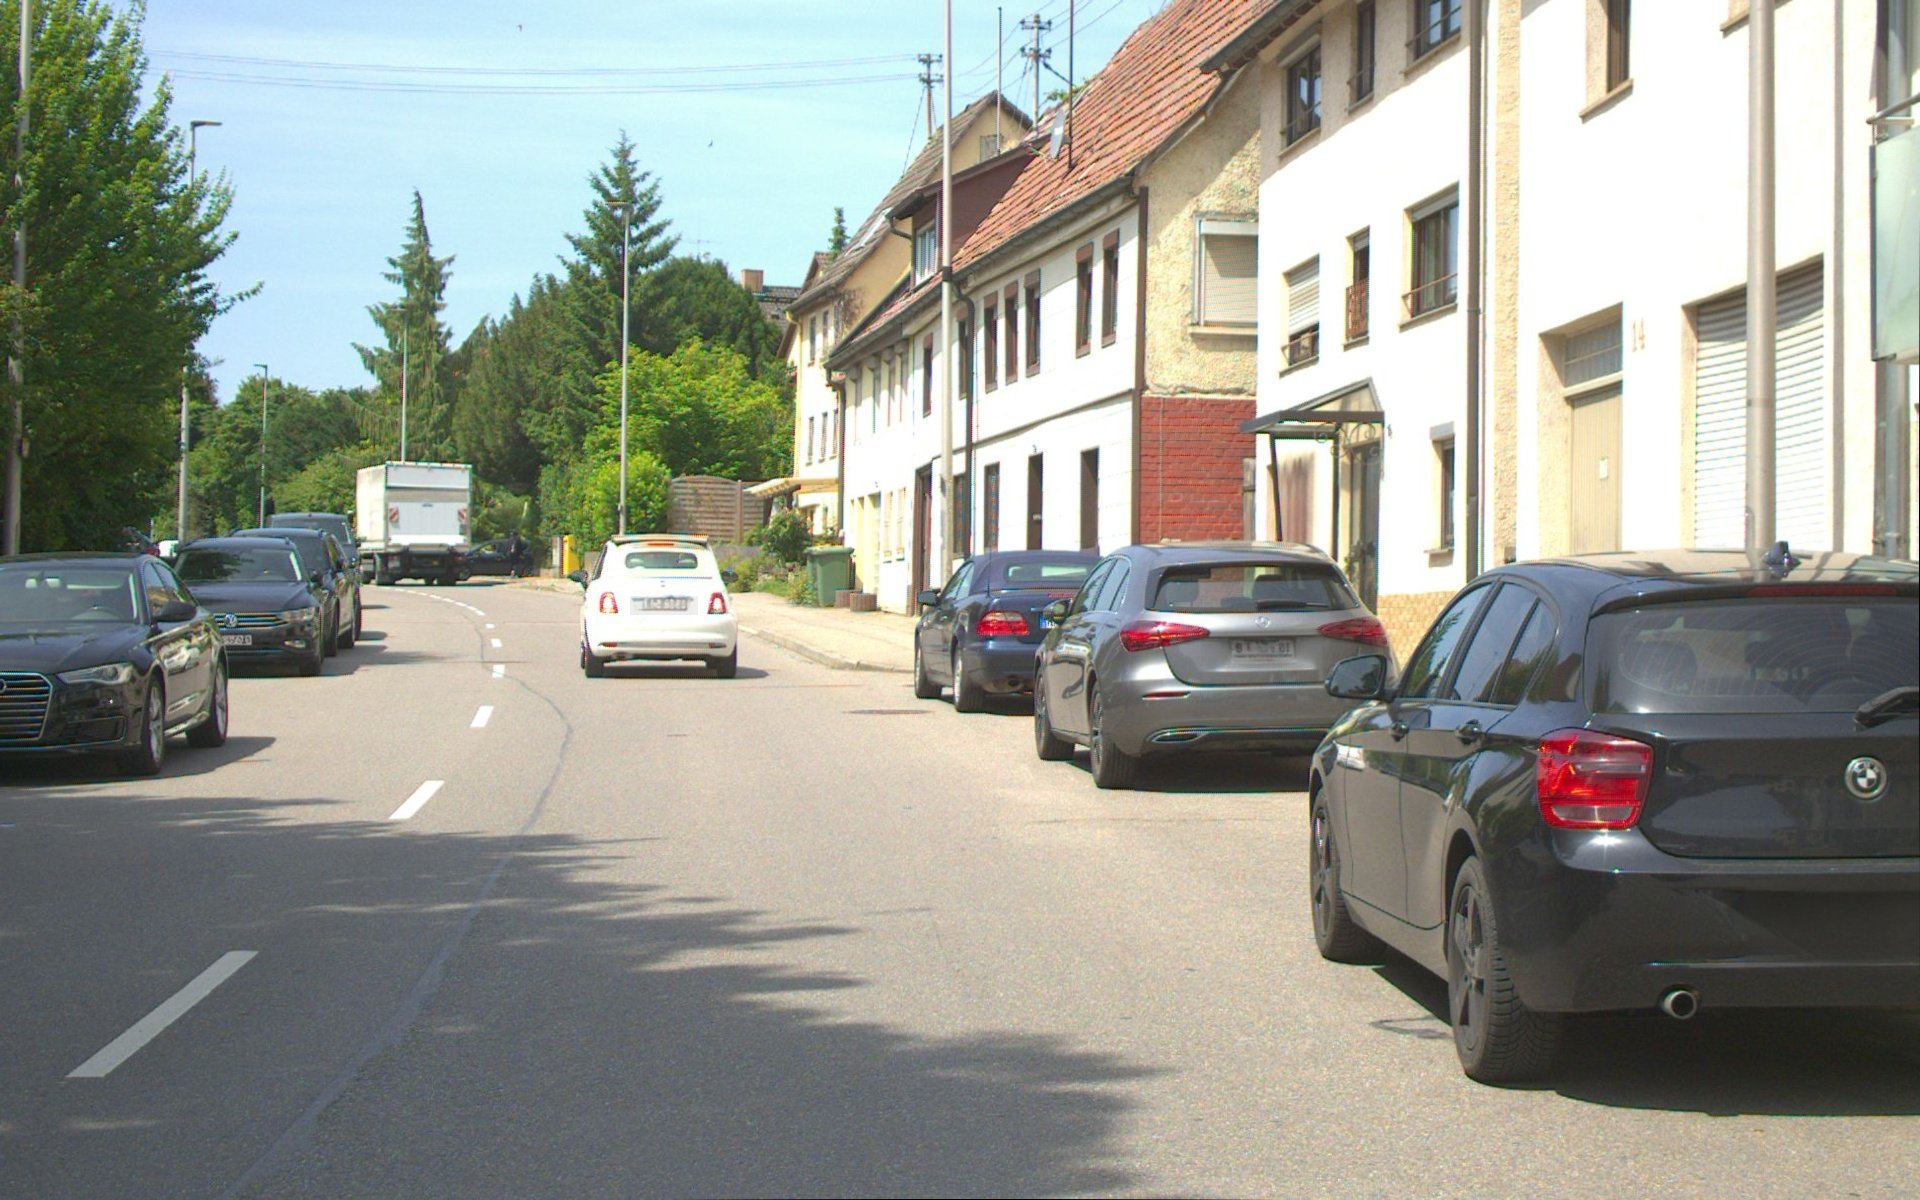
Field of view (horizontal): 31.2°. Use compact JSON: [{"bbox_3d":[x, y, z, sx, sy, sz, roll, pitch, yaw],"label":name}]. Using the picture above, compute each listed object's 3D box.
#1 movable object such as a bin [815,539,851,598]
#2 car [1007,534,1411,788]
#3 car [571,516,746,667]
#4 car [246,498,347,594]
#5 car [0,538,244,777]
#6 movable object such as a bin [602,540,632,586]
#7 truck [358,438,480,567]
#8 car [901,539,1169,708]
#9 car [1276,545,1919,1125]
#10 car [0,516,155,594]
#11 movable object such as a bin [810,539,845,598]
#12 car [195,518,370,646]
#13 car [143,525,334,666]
[{"bbox_3d":[-2.280,-0.565,61.824,0.546,1.030,0.552,-2,2,-9],"label":"movable object such as a bin"},{"bbox_3d":[1.435,0.299,21.543,1.793,1.398,4.413,-1,1,-6],"label":"car"},{"bbox_3d":[-3.363,-0.110,37.786,1.724,1.555,4.001,1,1,-7],"label":"car"},{"bbox_3d":[-13.985,-1.129,72.343,1.890,1.931,4.988,-1,1,-13],"label":"car"},{"bbox_3d":[-6.222,0.314,23.788,1.804,1.419,4.929,0,2,-4],"label":"car"},{"bbox_3d":[-7.899,-0.858,79.101,0.494,1.030,0.548,-3,1,11],"label":"movable object such as a bin"},{"bbox_3d":[-16.561,-2.893,104.883,3.067,3.761,7.870,0,0,-13],"label":"truck"},{"bbox_3d":[0.580,0.157,30.152,1.665,1.348,4.188,1,1,-8],"label":"car"},{"bbox_3d":[2.141,0.553,10.617,1.797,1.420,4.290,0,1,-2],"label":"car"},{"bbox_3d":[-19.638,-1.023,74.147,4.227,1.401,1.822,5,0,-17],"label":"car"},{"bbox_3d":[-2.407,-0.574,62.426,0.546,1.030,0.552,-2,2,-9],"label":"movable object such as a bin"},{"bbox_3d":[-8.561,-0.265,43.722,1.755,1.516,4.301,0,2,-6],"label":"car"},{"bbox_3d":[-7.895,-0.098,37.935,1.788,1.458,4.713,0,1,-9],"label":"car"}]
